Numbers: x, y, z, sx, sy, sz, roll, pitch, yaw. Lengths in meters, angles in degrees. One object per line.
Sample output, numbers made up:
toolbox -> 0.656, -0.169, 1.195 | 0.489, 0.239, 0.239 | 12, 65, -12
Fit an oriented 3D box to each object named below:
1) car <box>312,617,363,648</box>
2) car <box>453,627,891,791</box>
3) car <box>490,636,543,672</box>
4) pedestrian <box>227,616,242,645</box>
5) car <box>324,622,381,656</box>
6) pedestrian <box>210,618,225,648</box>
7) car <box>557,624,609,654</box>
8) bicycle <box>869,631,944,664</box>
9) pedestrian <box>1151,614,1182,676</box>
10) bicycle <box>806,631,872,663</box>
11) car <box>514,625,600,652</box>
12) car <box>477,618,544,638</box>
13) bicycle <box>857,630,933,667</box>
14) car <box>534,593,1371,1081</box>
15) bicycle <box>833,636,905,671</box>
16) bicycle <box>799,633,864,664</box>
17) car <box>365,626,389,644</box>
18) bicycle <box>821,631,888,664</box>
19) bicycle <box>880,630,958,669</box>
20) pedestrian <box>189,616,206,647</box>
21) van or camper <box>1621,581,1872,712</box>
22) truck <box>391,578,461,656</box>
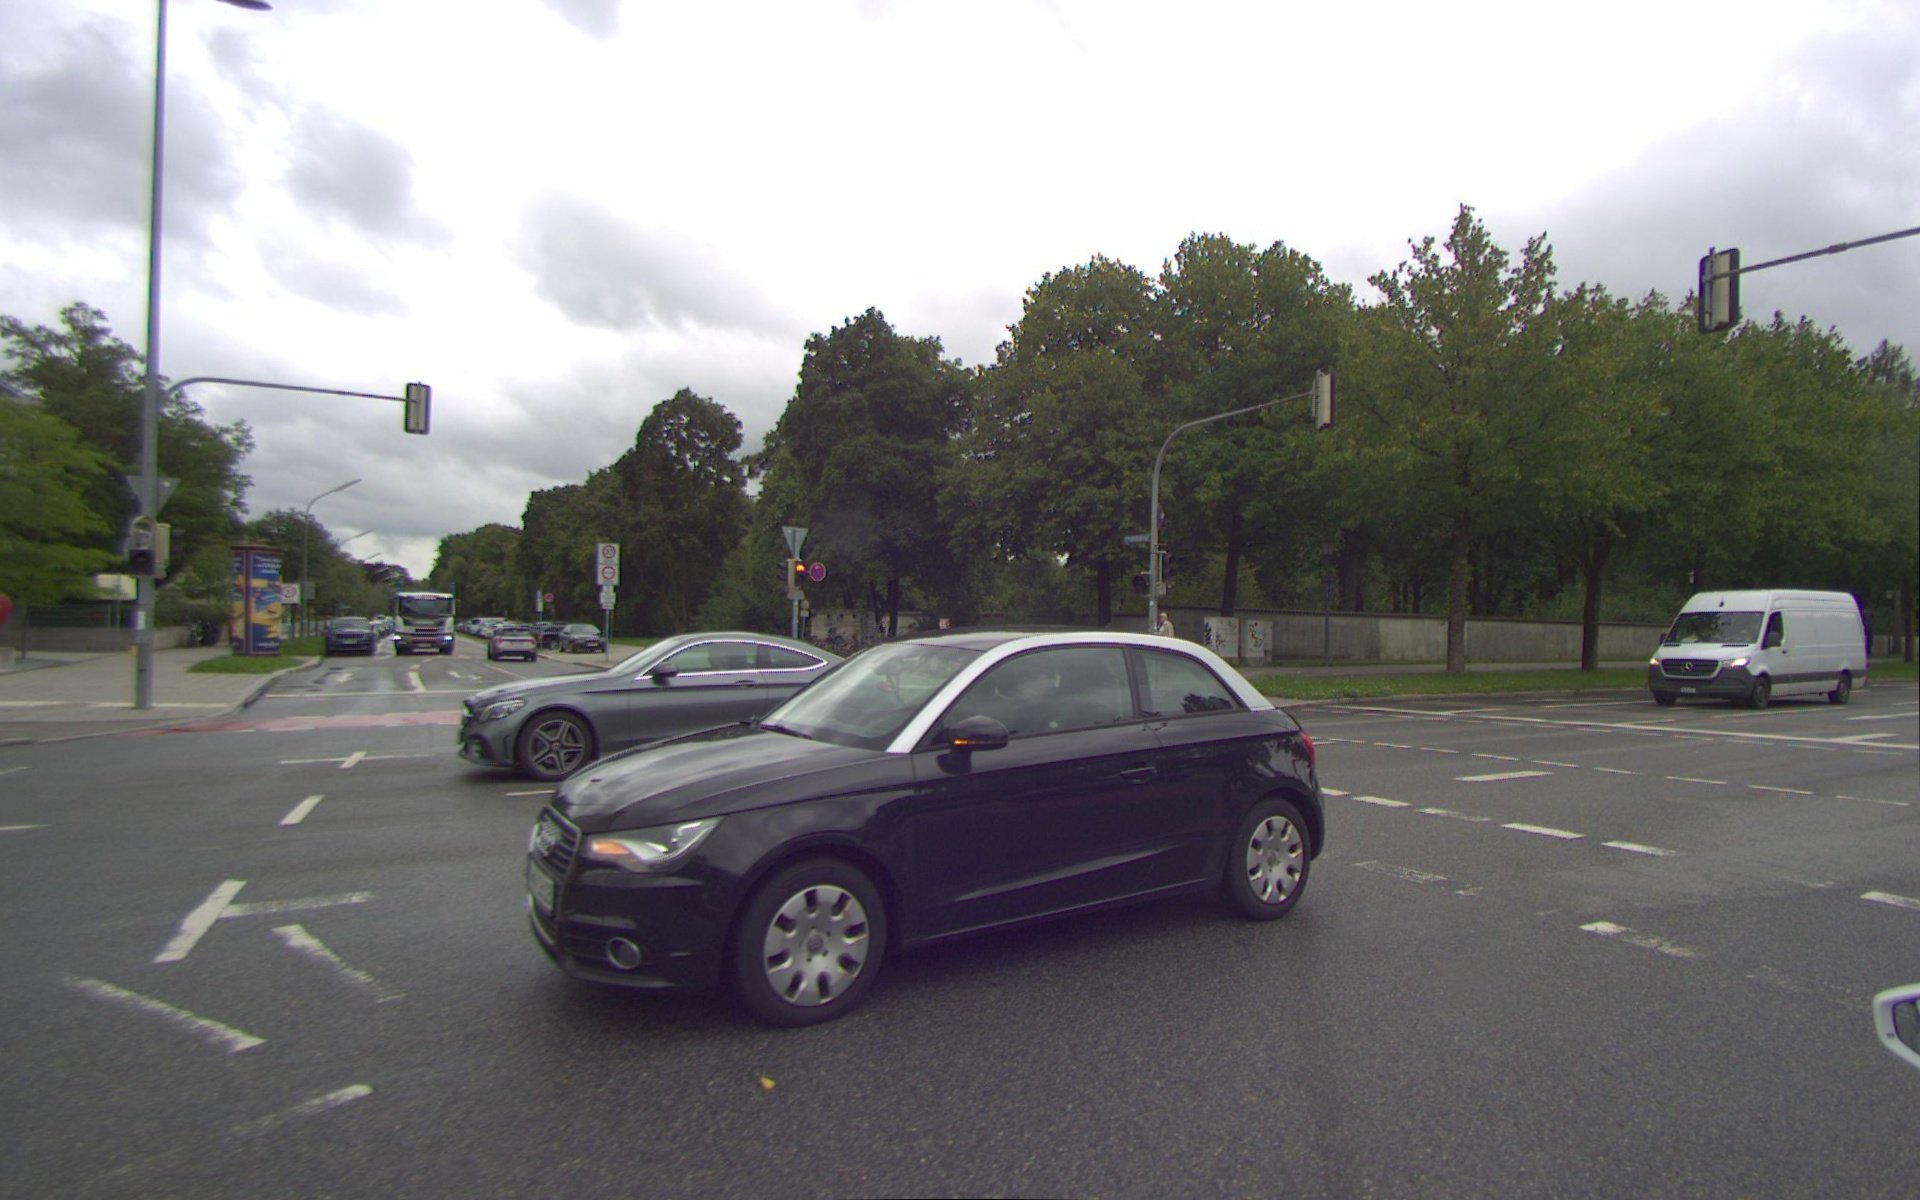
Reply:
car -> -34.153, 1.753, 55.241 | 1.974, 1.595, 3.973 | 2, -1, -26
car -> -2.973, 1.045, 10.612 | 4.166, 1.434, 1.716 | 2, -3, -30
car -> -19.199, 2.325, 43.639 | 1.904, 1.481, 4.344 | 1, -3, -21
pedestrian -> -36.279, 1.547, 50.207 | 0.541, 1.433, 0.596 | 2, -1, -41
car -> -28.026, 1.782, 46.436 | 1.902, 1.435, 4.186 | 1, -1, -27
pedestrian -> -36.604, 1.634, 49.503 | 0.541, 1.433, 0.596 | 2, -1, -41
car -> -19.260, 1.976, 51.190 | 1.823, 1.435, 4.182 | 2, -1, -30
bicycle -> -2.042, 1.829, 38.699 | 2.852, 1.202, 0.831 | 2, -1, -32
pedestrian -> 6.010, 1.305, 29.242 | 0.512, 1.763, 0.703 | 1, -1, -35
bicycle -> -4.727, 1.824, 39.373 | 2.469, 1.202, 0.831 | 2, -1, -32
car -> -23.019, 2.180, 57.458 | 4.184, 1.435, 1.903 | 2, -1, -42
car -> -33.740, 2.072, 75.507 | 1.893, 1.435, 4.205 | 0, -1, 32
bicycle -> -2.178, 1.650, 34.057 | 2.469, 1.202, 0.831 | 2, -1, -32
car -> 0.105, 0.789, 4.826 | 3.740, 1.506, 1.630 | 2, -1, -33
bicycle -> -3.235, 1.894, 35.947 | 2.469, 1.202, 0.831 | 2, -1, -32
bicycle -> -5.158, 1.931, 40.430 | 2.469, 1.202, 0.831 | 2, -1, -32
car -> -53.515, 3.209, 92.215 | 1.904, 1.612, 4.181 | 1, -1, -30
bicycle -> -4.033, 1.824, 38.541 | 2.469, 1.201, 0.831 | 2, -3, -32
bicycle -> -1.345, 1.617, 32.917 | 2.469, 1.202, 0.831 | 2, -1, -32
pedestrian -> -35.597, 1.454, 46.892 | 0.540, 1.433, 0.597 | 3, -2, -34
van or camper -> 18.265, 1.077, 23.207 | 6.870, 2.681, 2.168 | 2, -3, -31
truck -> -26.190, 0.847, 49.505 | 2.736, 3.534, 7.771 | 1, -1, -26
